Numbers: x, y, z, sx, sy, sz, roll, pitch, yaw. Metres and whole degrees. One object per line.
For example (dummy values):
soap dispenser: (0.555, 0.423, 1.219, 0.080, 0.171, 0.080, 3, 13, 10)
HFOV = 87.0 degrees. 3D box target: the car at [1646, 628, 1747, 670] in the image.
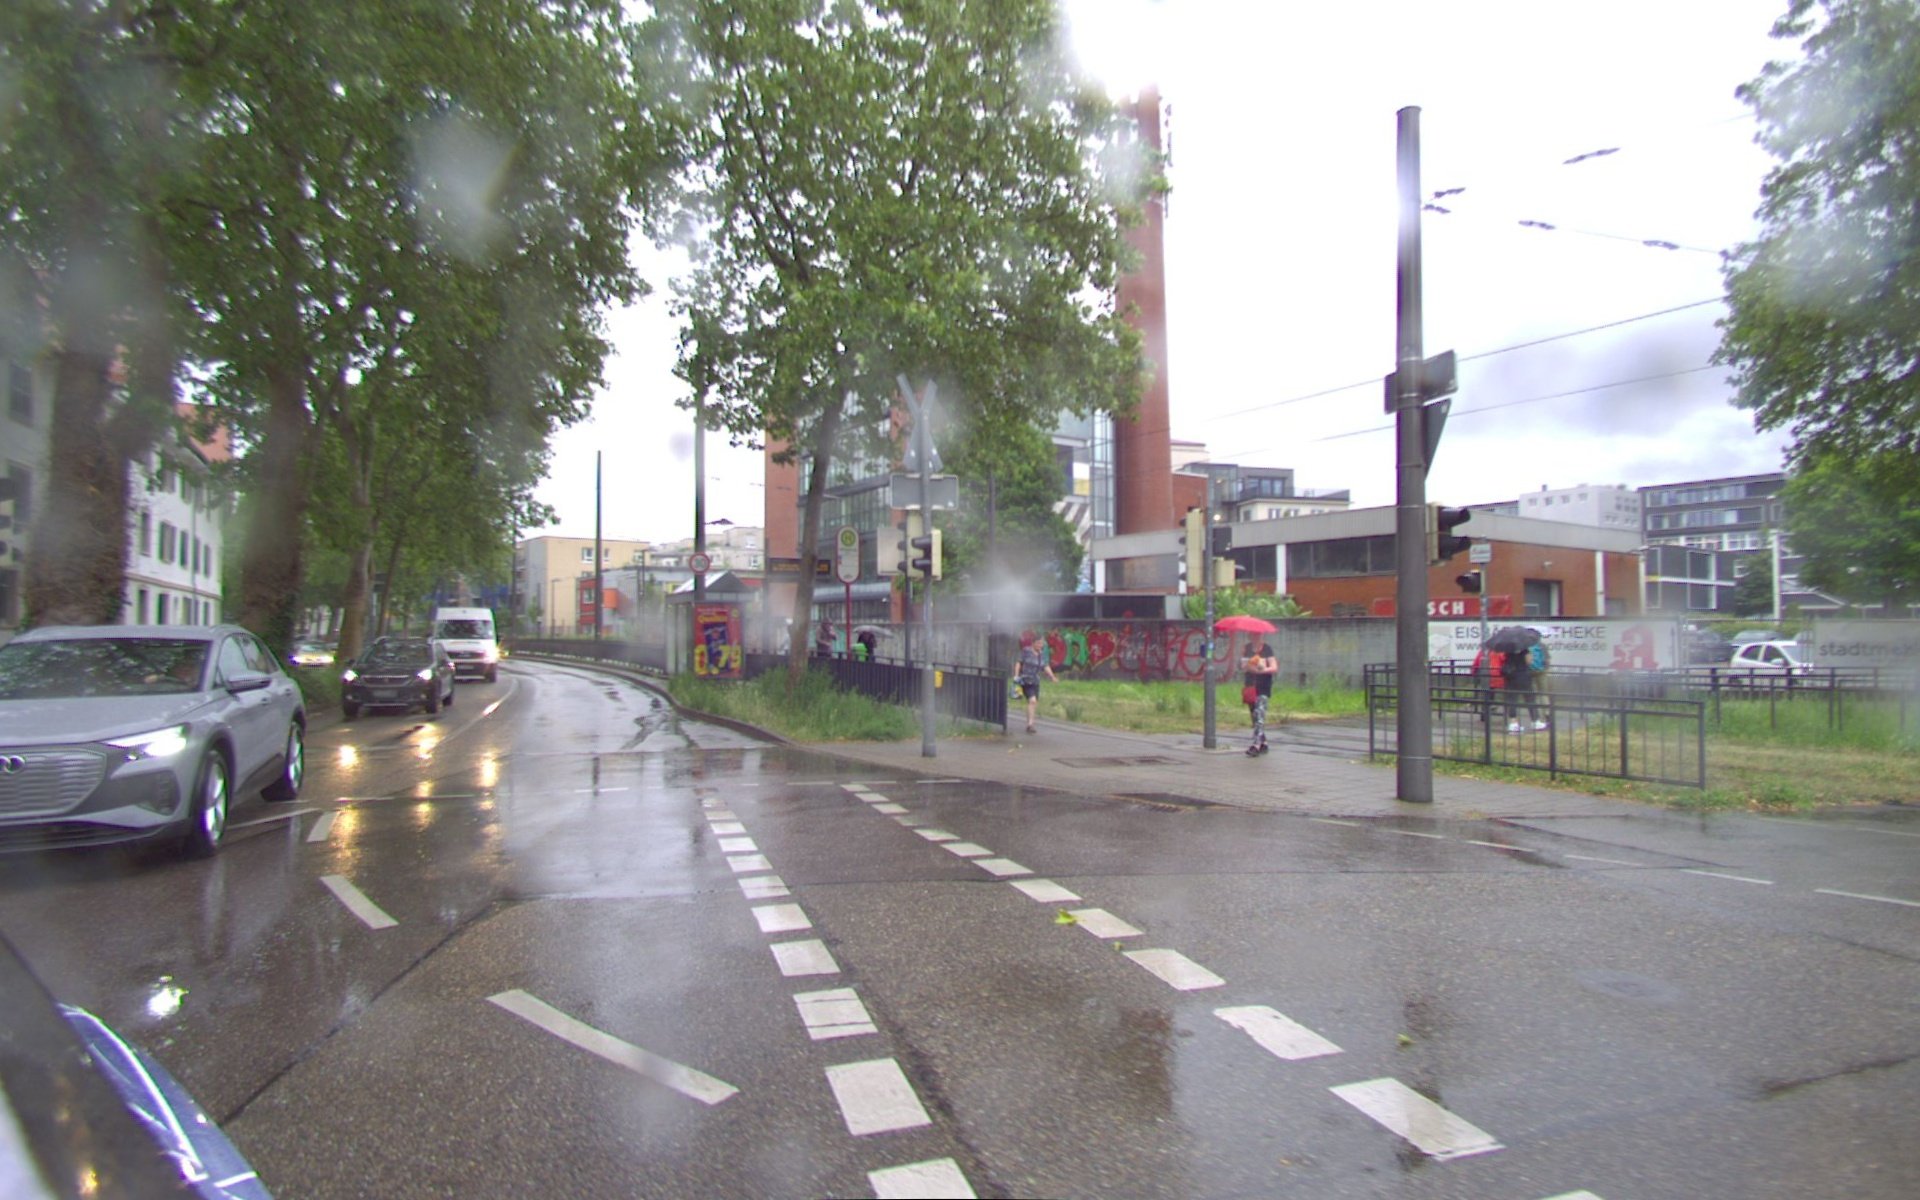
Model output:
car: (33.396, 2.190, 45.855, 4.725, 1.755, 2.175, 1, -2, -34)

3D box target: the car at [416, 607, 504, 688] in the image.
car: (-17.396, 1.602, 35.491, 2.245, 2.582, 6.532, 0, -2, -22)

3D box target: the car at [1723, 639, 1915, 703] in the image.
car: (20.339, 1.638, 24.174, 1.823, 1.331, 3.654, -1, -1, 10)

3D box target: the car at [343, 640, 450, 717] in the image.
car: (-11.929, 1.622, 21.561, 1.822, 1.455, 4.012, 1, -3, -28)

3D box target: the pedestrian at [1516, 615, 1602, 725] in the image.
pedestrian: (10.578, 1.221, 17.892, 0.834, 1.877, 0.959, 1, -3, -31)

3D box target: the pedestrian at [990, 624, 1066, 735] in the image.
pedestrian: (1.082, 1.242, 16.149, 0.846, 1.701, 0.851, 1, -4, -32)

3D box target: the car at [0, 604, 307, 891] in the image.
car: (-6.368, 0.945, 7.654, 1.779, 1.633, 4.150, 0, -3, -24)

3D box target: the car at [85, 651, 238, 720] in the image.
car: (-19.796, 2.061, 25.277, 1.896, 1.432, 3.676, -3, -1, -20)

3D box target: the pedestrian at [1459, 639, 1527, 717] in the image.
pedestrian: (10.685, 1.548, 20.303, 0.834, 1.516, 0.831, 1, -3, -31)

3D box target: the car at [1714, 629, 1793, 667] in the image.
car: (39.499, 2.355, 50.350, 4.824, 1.750, 2.004, 1, -2, -38)

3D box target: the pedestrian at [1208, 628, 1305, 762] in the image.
pedestrian: (3.941, 1.234, 13.484, 0.834, 1.701, 0.863, 1, -3, -31)

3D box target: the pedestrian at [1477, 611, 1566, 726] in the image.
pedestrian: (9.505, 1.148, 17.154, 0.834, 1.877, 0.959, 1, -3, -31)

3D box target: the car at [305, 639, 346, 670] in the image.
car: (-33.625, 2.842, 53.711, 1.773, 1.530, 4.012, 0, -2, -31)

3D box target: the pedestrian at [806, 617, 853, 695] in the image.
pedestrian: (-3.200, 1.368, 24.714, 0.846, 1.846, 0.851, 1, -4, -32)

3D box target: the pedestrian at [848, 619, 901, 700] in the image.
pedestrian: (-1.860, 1.285, 21.992, 0.846, 1.701, 0.851, 1, -4, -32)
